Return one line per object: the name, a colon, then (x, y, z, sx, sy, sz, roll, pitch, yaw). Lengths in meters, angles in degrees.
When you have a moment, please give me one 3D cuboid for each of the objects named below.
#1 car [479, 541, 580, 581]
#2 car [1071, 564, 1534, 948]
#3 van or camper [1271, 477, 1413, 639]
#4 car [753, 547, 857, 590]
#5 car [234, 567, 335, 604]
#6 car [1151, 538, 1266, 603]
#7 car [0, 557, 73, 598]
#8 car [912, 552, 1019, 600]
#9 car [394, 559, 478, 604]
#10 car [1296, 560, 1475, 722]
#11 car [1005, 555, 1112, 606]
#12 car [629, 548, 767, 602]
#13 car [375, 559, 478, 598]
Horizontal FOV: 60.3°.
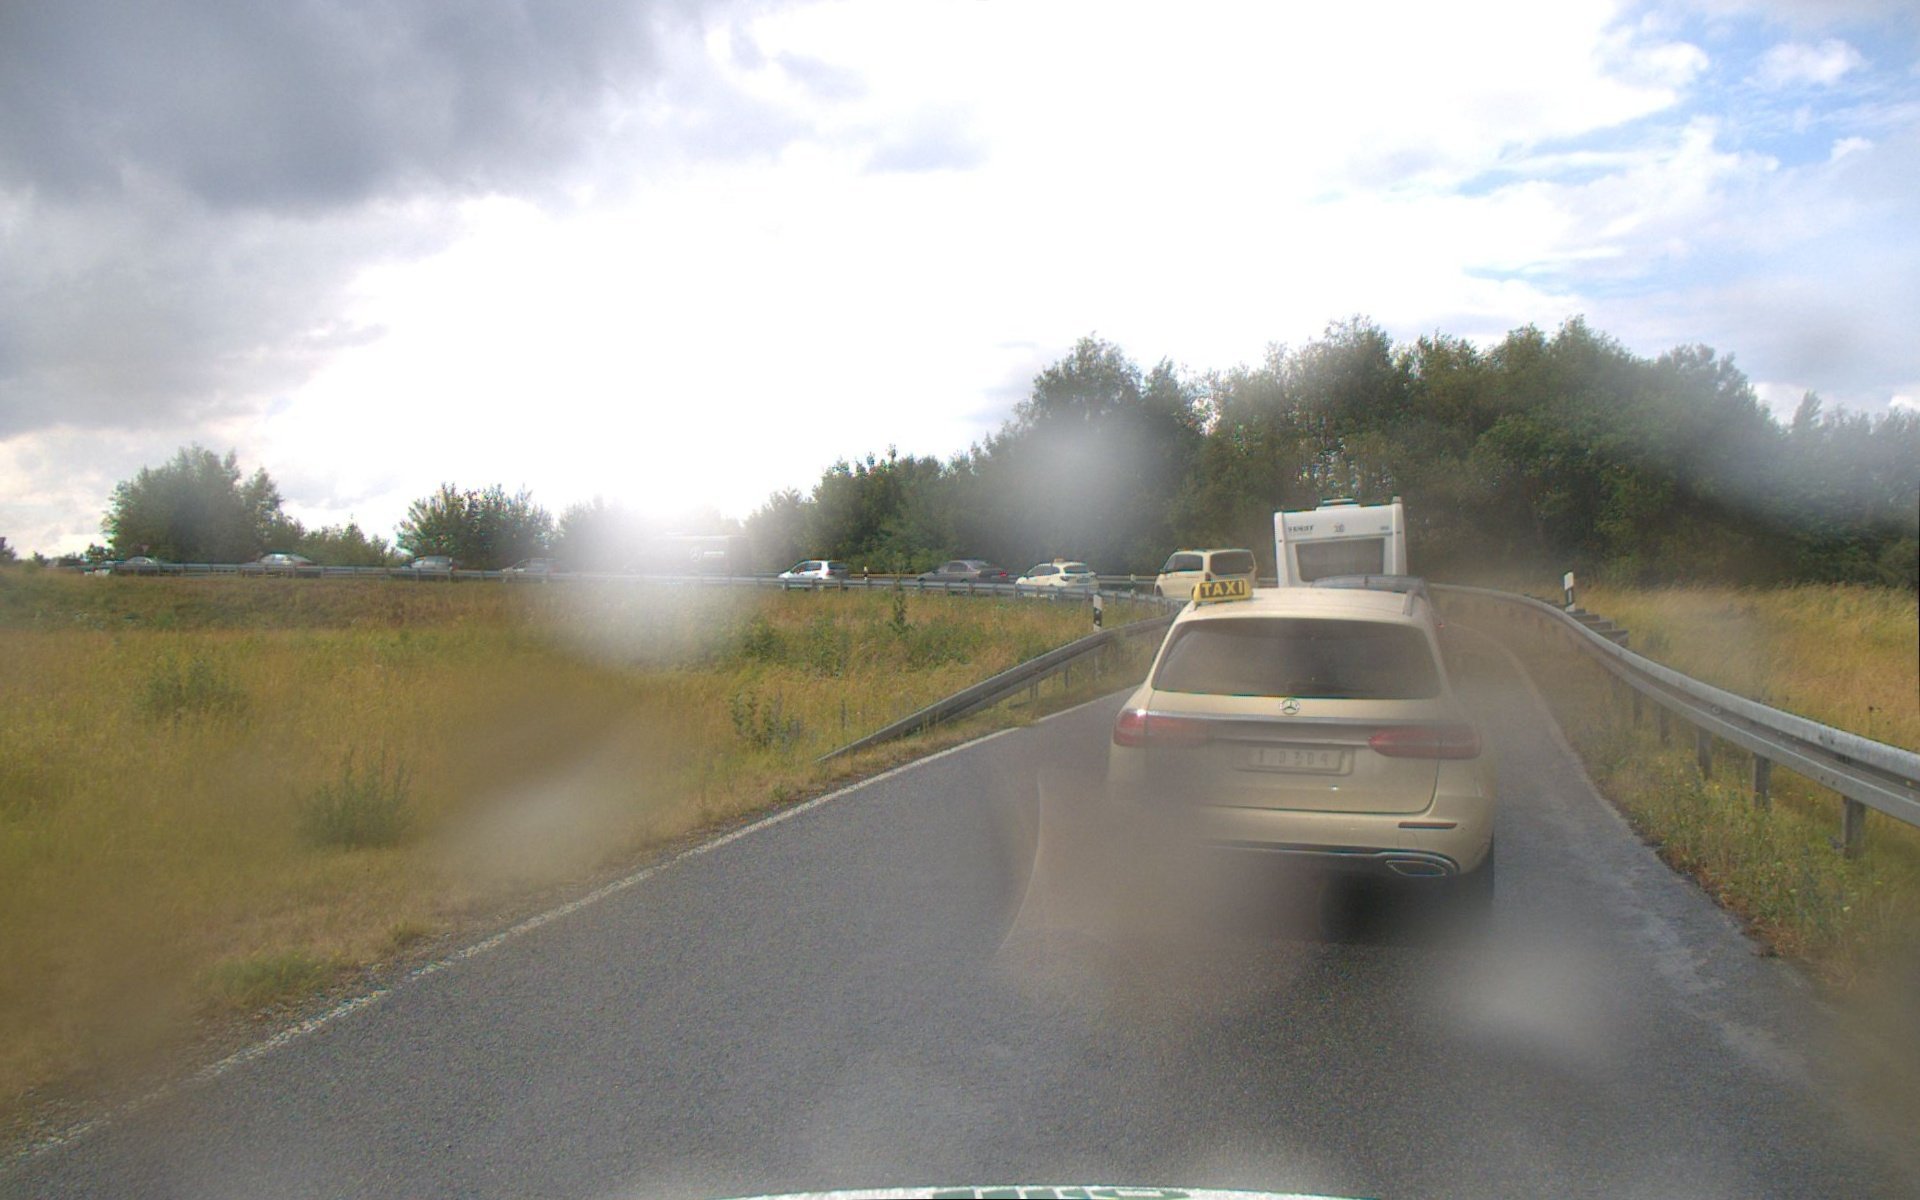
car: (-22.930, -2.070, 88.077, 4.937, 1.894, 2.000, -2, -1, 22)
car: (1.998, 0.591, 9.071, 1.875, 1.533, 4.599, 0, 1, 15)
van or camper: (7.307, -0.733, 31.529, 2.379, 2.777, 6.006, 0, 0, 14)
car: (-7.529, -1.502, 80.231, 4.957, 1.894, 1.992, -2, -1, 37)
car: (-37.858, -0.778, 92.745, 4.933, 1.894, 2.002, -2, -1, 12)
car: (8.048, -0.927, 54.061, 1.959, 1.894, 5.040, -1, -1, -13)
car: (-50.924, -1.224, 90.713, 3.940, 2.049, 1.810, 1, -3, -27)
car: (0.195, -1.021, 72.131, 1.980, 1.894, 4.986, -1, -1, -39)
car: (-28.468, -1.015, 89.902, 3.908, 2.047, 2.000, -4, 3, 26)
car: (4.695, 0.415, 18.002, 1.682, 1.551, 4.002, 0, -1, 17)
car: (3.781, -0.750, 64.495, 1.969, 1.894, 5.016, -1, 1, -26)
car: (-13.419, -1.246, 84.605, 6.838, 2.640, 2.867, 0, 1, 34)
car: (-29.078, -1.158, 90.203, 4.933, 1.894, 2.002, -2, -1, 12)
